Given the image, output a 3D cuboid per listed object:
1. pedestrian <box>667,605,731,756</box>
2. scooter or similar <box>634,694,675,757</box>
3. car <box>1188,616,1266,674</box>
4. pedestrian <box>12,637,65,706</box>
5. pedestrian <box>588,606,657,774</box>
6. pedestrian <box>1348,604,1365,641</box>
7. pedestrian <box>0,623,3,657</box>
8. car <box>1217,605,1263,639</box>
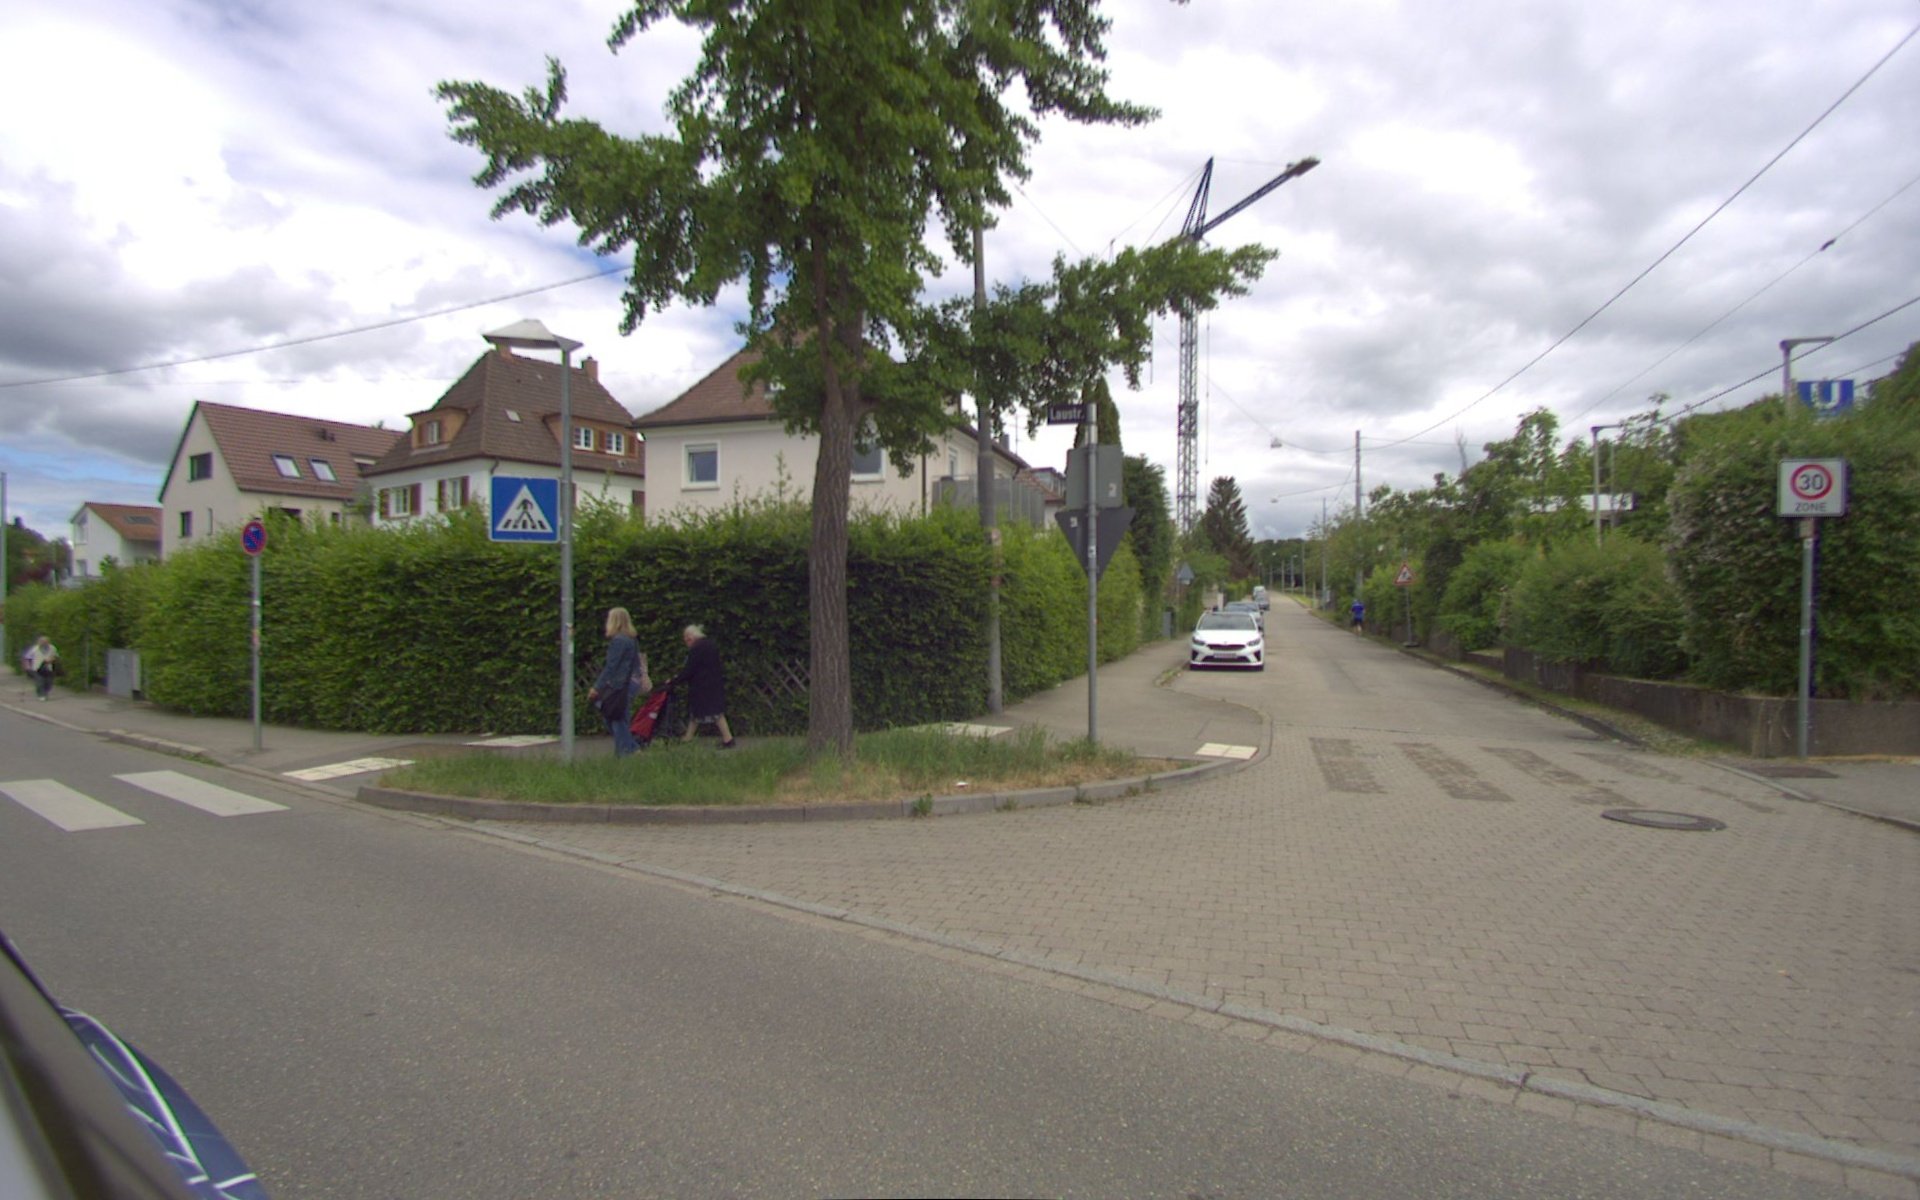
[{"bbox_3d":[-2.982,0.883,11.539,0.588,1.632,0.680,-2,0,-19],"label":"pedestrian"},{"bbox_3d":[-3.451,1.409,11.428,0.393,0.614,0.490,-3,1,-19],"label":"scooter or similar"},{"bbox_3d":[6.692,1.072,25.602,1.764,1.322,3.756,0,0,13],"label":"car"},{"bbox_3d":[-21.468,1.655,23.584,0.542,1.542,0.742,-2,0,27],"label":"pedestrian"},{"bbox_3d":[-3.472,0.891,10.416,0.588,1.632,0.680,-2,0,-19],"label":"pedestrian"},{"bbox_3d":[16.861,0.968,43.055,0.639,1.542,0.660,1,0,18],"label":"pedestrian"},{"bbox_3d":[-56.248,2.357,59.060,0.528,1.967,0.528,0,-2,-40],"label":"pedestrian"},{"bbox_3d":[12.925,1.001,46.901,1.752,1.453,3.771,-1,-1,11],"label":"car"}]
